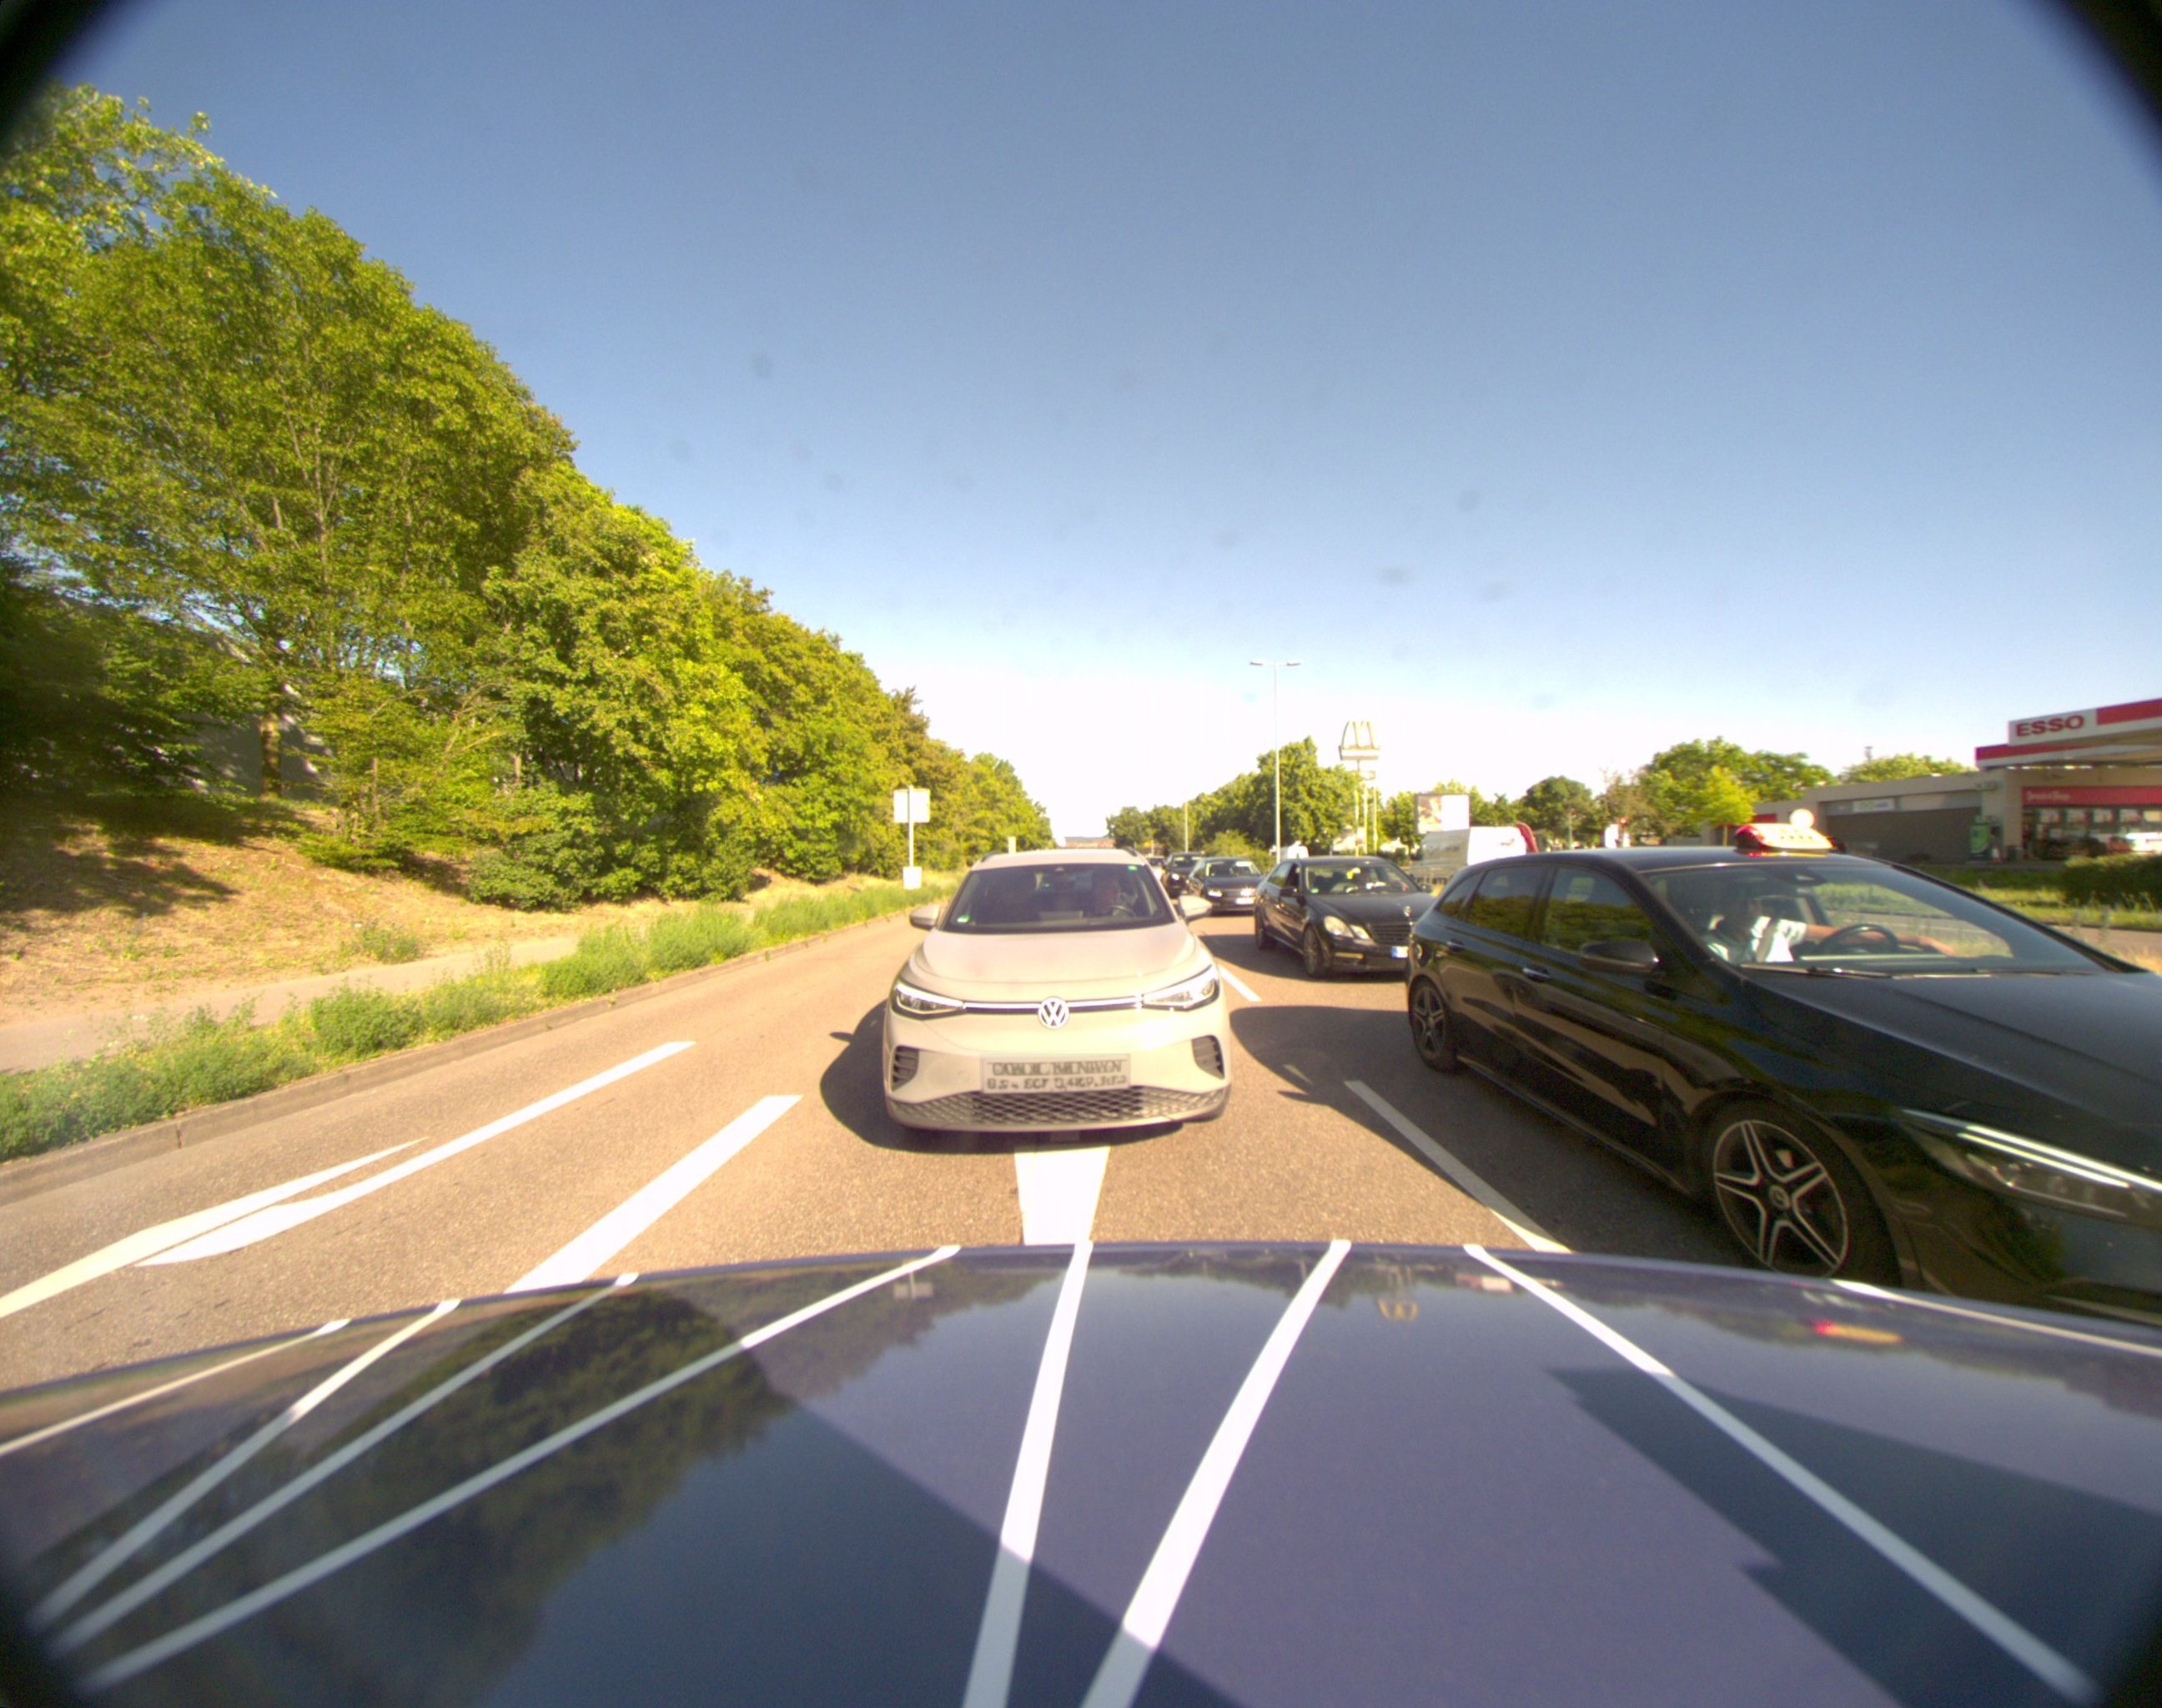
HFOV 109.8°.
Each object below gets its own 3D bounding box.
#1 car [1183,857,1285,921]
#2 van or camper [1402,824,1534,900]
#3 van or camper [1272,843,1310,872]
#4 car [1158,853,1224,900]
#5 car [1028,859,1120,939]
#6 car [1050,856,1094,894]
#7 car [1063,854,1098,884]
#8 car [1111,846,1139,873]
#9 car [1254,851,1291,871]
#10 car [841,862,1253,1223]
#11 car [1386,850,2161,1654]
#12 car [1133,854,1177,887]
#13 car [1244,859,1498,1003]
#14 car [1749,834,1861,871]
[{"bbox_3d":[3.945,0.832,20.267,1.862,1.472,4.403,-1,0,1],"label":"car"},{"bbox_3d":[14.598,0.270,29.244,2.182,2.557,6.756,-1,0,6],"label":"van or camper"},{"bbox_3d":[20.193,0.344,73.346,1.999,2.635,5.956,1,0,0],"label":"van or camper"},{"bbox_3d":[4.005,0.778,28.361,1.862,1.578,4.403,-1,0,1],"label":"car"},{"bbox_3d":[-0.115,0.901,16.811,1.765,1.503,3.760,-2,0,1],"label":"car"},{"bbox_3d":[-0.343,0.890,33.375,1.765,1.503,3.760,-2,0,1],"label":"car"},{"bbox_3d":[0.002,0.751,40.774,1.765,1.503,3.760,-2,0,1],"label":"car"},{"bbox_3d":[3.975,0.485,69.627,2.289,2.274,5.381,-1,0,1],"label":"car"},{"bbox_3d":[16.725,0.583,66.577,1.999,1.643,4.613,1,0,-1],"label":"car"},{"bbox_3d":[-0.133,0.901,5.495,1.871,1.588,3.932,-2,0,1],"label":"car"},{"bbox_3d":[3.153,0.811,3.600,1.804,1.616,4.188,-1,0,2],"label":"car"},{"bbox_3d":[3.730,0.805,39.019,1.862,1.578,4.403,-1,0,1],"label":"car"},{"bbox_3d":[3.633,0.853,10.482,1.862,1.515,4.403,-1,0,1],"label":"car"},{"bbox_3d":[37.704,-0.080,39.736,1.998,1.759,4.118,-2,0,2],"label":"car"}]
